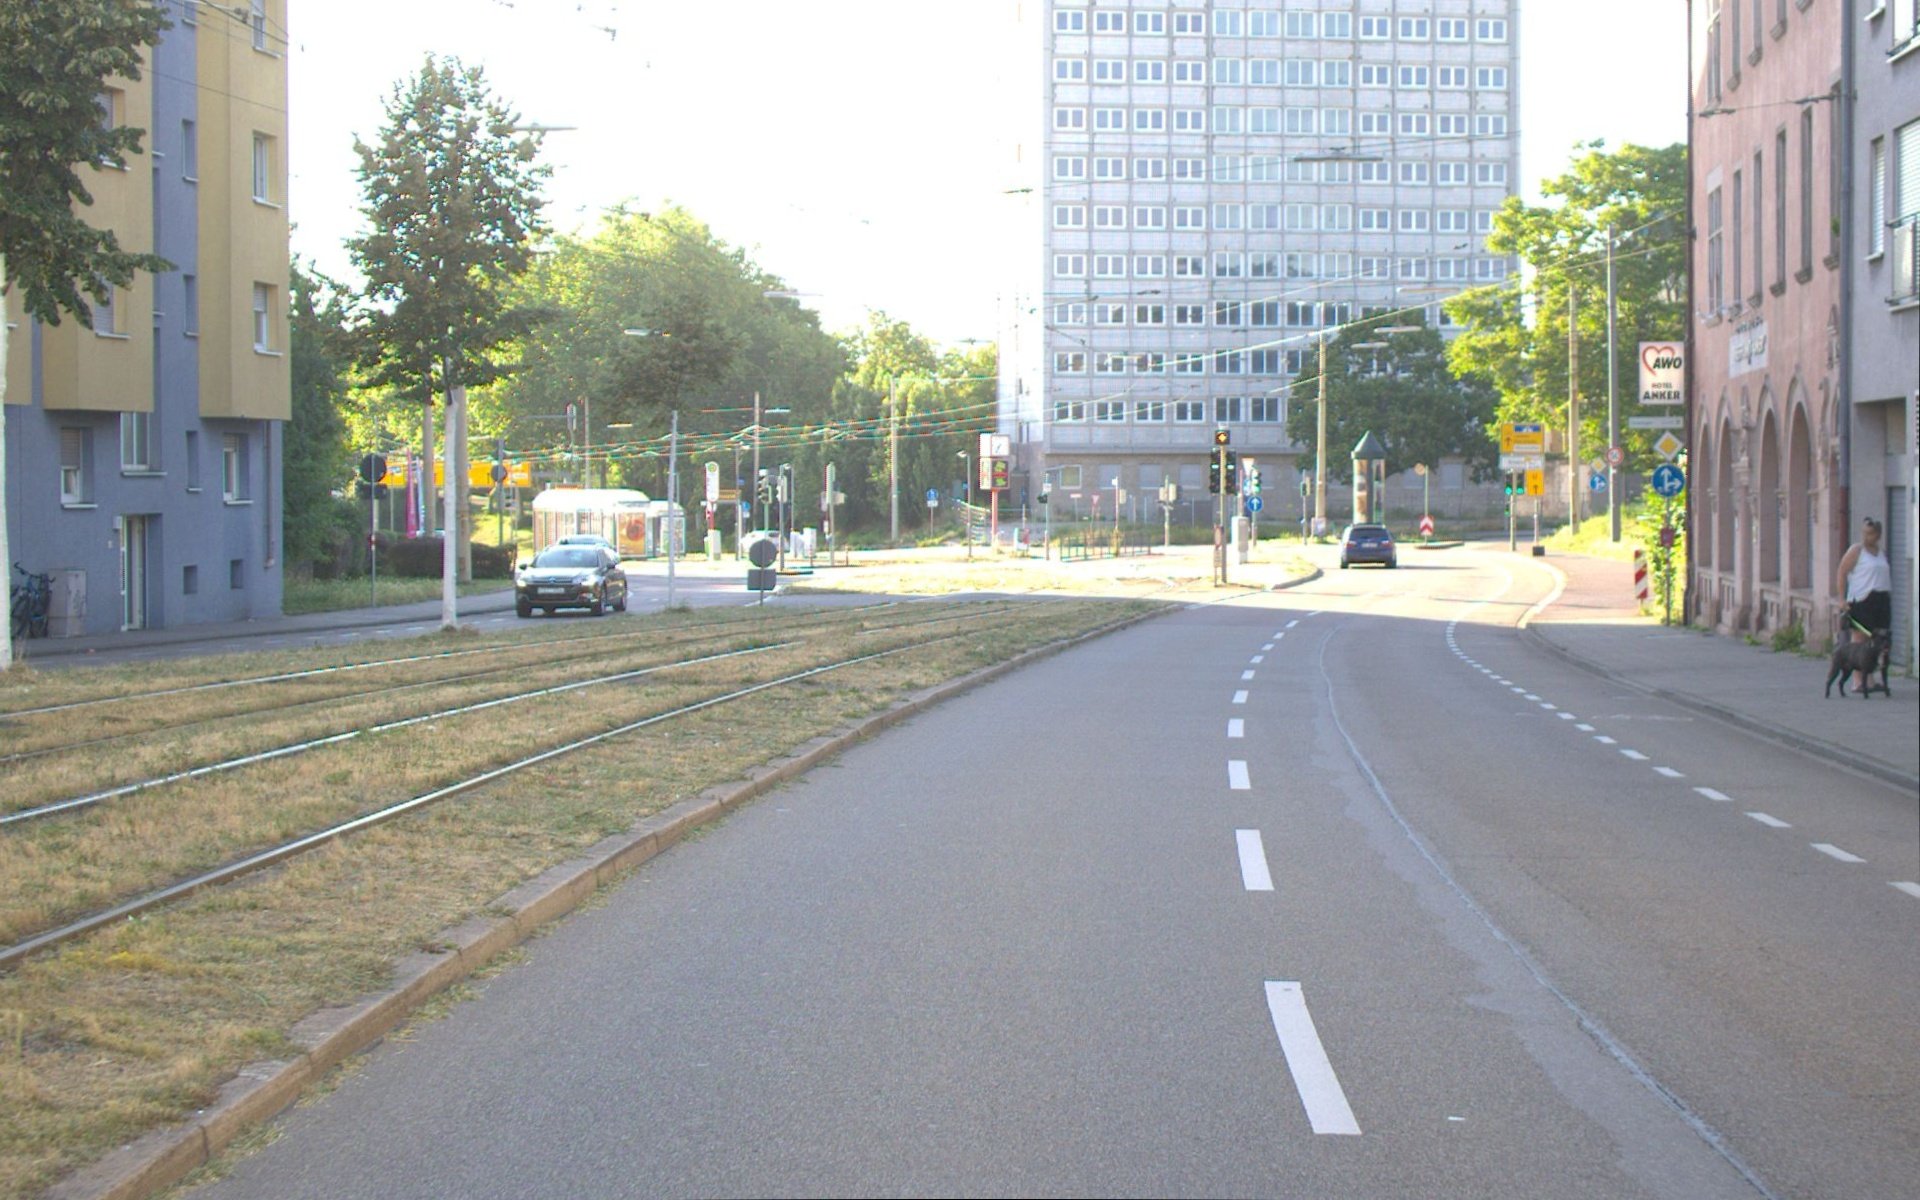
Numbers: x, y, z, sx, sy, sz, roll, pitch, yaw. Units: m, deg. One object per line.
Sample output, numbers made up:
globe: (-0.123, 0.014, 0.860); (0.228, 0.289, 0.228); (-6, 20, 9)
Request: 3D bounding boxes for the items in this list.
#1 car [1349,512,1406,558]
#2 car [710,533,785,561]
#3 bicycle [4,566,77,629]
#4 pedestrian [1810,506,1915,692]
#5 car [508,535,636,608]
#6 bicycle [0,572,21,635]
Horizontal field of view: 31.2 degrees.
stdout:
car: (13.539, -2.114, 111.342); (1.773, 1.417, 3.855); (0, 2, 8)
car: (-11.847, -2.959, 191.611); (3.997, 1.524, 1.995); (1, 2, 42)
bicycle: (-14.496, -0.051, 54.224); (0.427, 0.956, 1.911); (0, 1, 7)
pedestrian: (8.749, -0.024, 33.348); (0.830, 1.765, 0.996); (0, 2, 6)
car: (-8.276, -0.626, 73.774); (1.793, 1.464, 4.795); (-2, 1, 5)
bicycle: (-14.778, 0.061, 51.867); (0.427, 0.922, 1.911); (4, 2, 7)
